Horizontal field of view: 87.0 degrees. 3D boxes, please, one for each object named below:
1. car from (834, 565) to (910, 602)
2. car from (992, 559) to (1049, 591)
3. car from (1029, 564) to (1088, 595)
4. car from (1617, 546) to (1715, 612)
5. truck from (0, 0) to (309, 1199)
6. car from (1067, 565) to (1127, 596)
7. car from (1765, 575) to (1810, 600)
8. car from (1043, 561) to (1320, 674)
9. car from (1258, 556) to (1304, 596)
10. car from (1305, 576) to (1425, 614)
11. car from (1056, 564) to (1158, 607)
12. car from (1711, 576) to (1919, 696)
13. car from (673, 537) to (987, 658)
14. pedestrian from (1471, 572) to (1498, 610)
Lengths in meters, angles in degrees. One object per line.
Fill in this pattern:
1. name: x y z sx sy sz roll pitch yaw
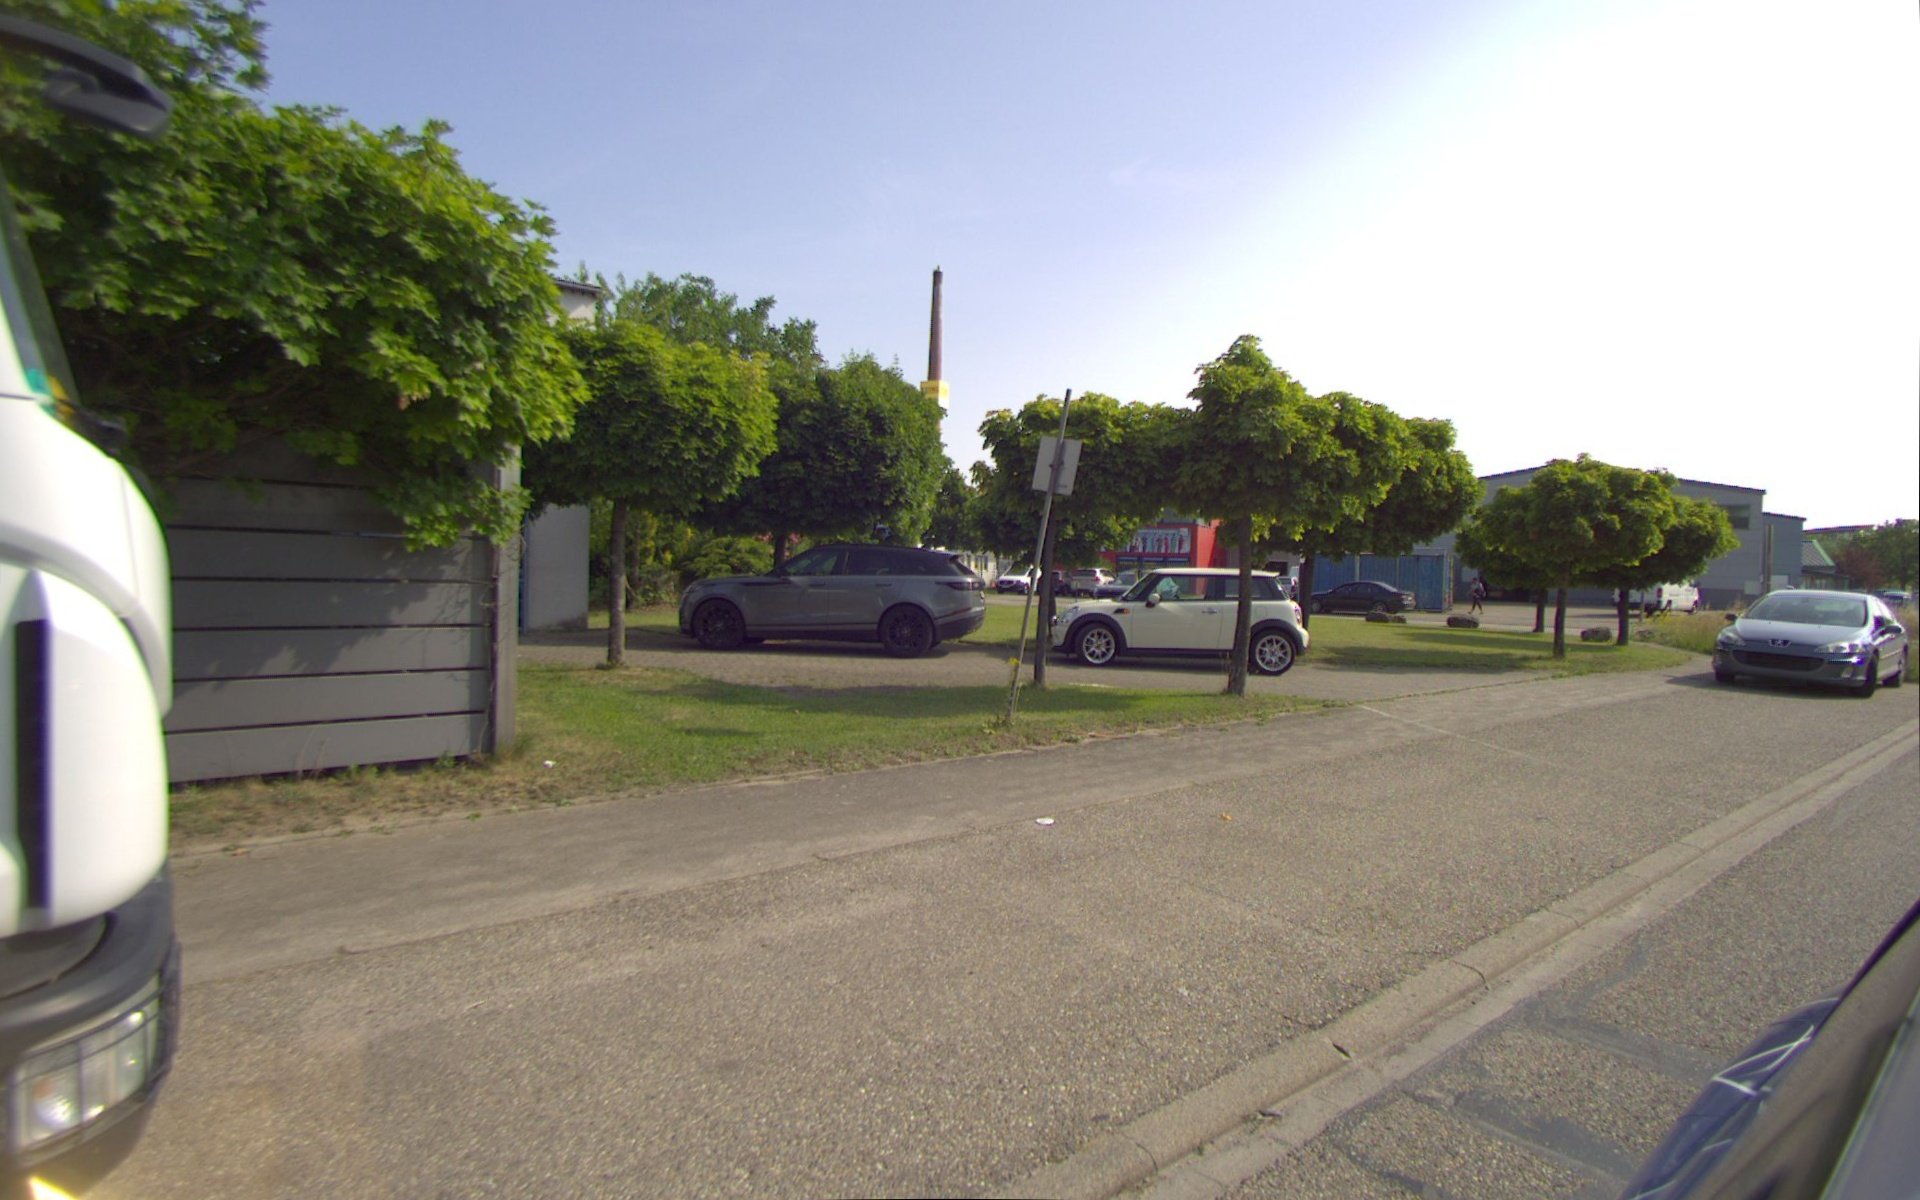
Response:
1. car: -3.803 -0.765 44.260 1.551 1.468 3.480 2 3 31
2. car: 3.608 -1.479 59.631 1.701 1.819 4.163 3 3 30
3. car: 5.654 -1.212 57.813 1.772 1.652 4.163 3 3 30
4. car: 31.216 -0.932 44.676 5.774 2.739 1.979 0 2 -39
5. truck: -4.175 0.004 0.297 6.403 2.714 2.362 -1 4 -44
6. car: 7.688 -1.108 56.399 1.772 1.652 4.420 3 3 30
7. car: 55.600 -0.881 68.026 1.625 1.587 3.768 2 2 29
8. car: 3.113 0.189 14.588 3.640 1.397 1.682 2 2 11
9. car: 17.323 -1.295 54.545 1.978 2.038 3.970 2 2 23
10. car: 17.359 -0.268 43.515 4.453 1.426 1.785 3 4 40
11. car: 5.322 -0.546 36.195 1.777 1.426 4.290 3 3 37
12. car: 13.088 0.427 15.319 4.346 1.536 1.798 -1 3 -40
13. car: -1.892 -0.083 15.386 4.455 1.608 1.685 2 2 6
14. pedestrian: 22.966 -0.398 44.284 0.733 1.660 0.706 0 2 -24
